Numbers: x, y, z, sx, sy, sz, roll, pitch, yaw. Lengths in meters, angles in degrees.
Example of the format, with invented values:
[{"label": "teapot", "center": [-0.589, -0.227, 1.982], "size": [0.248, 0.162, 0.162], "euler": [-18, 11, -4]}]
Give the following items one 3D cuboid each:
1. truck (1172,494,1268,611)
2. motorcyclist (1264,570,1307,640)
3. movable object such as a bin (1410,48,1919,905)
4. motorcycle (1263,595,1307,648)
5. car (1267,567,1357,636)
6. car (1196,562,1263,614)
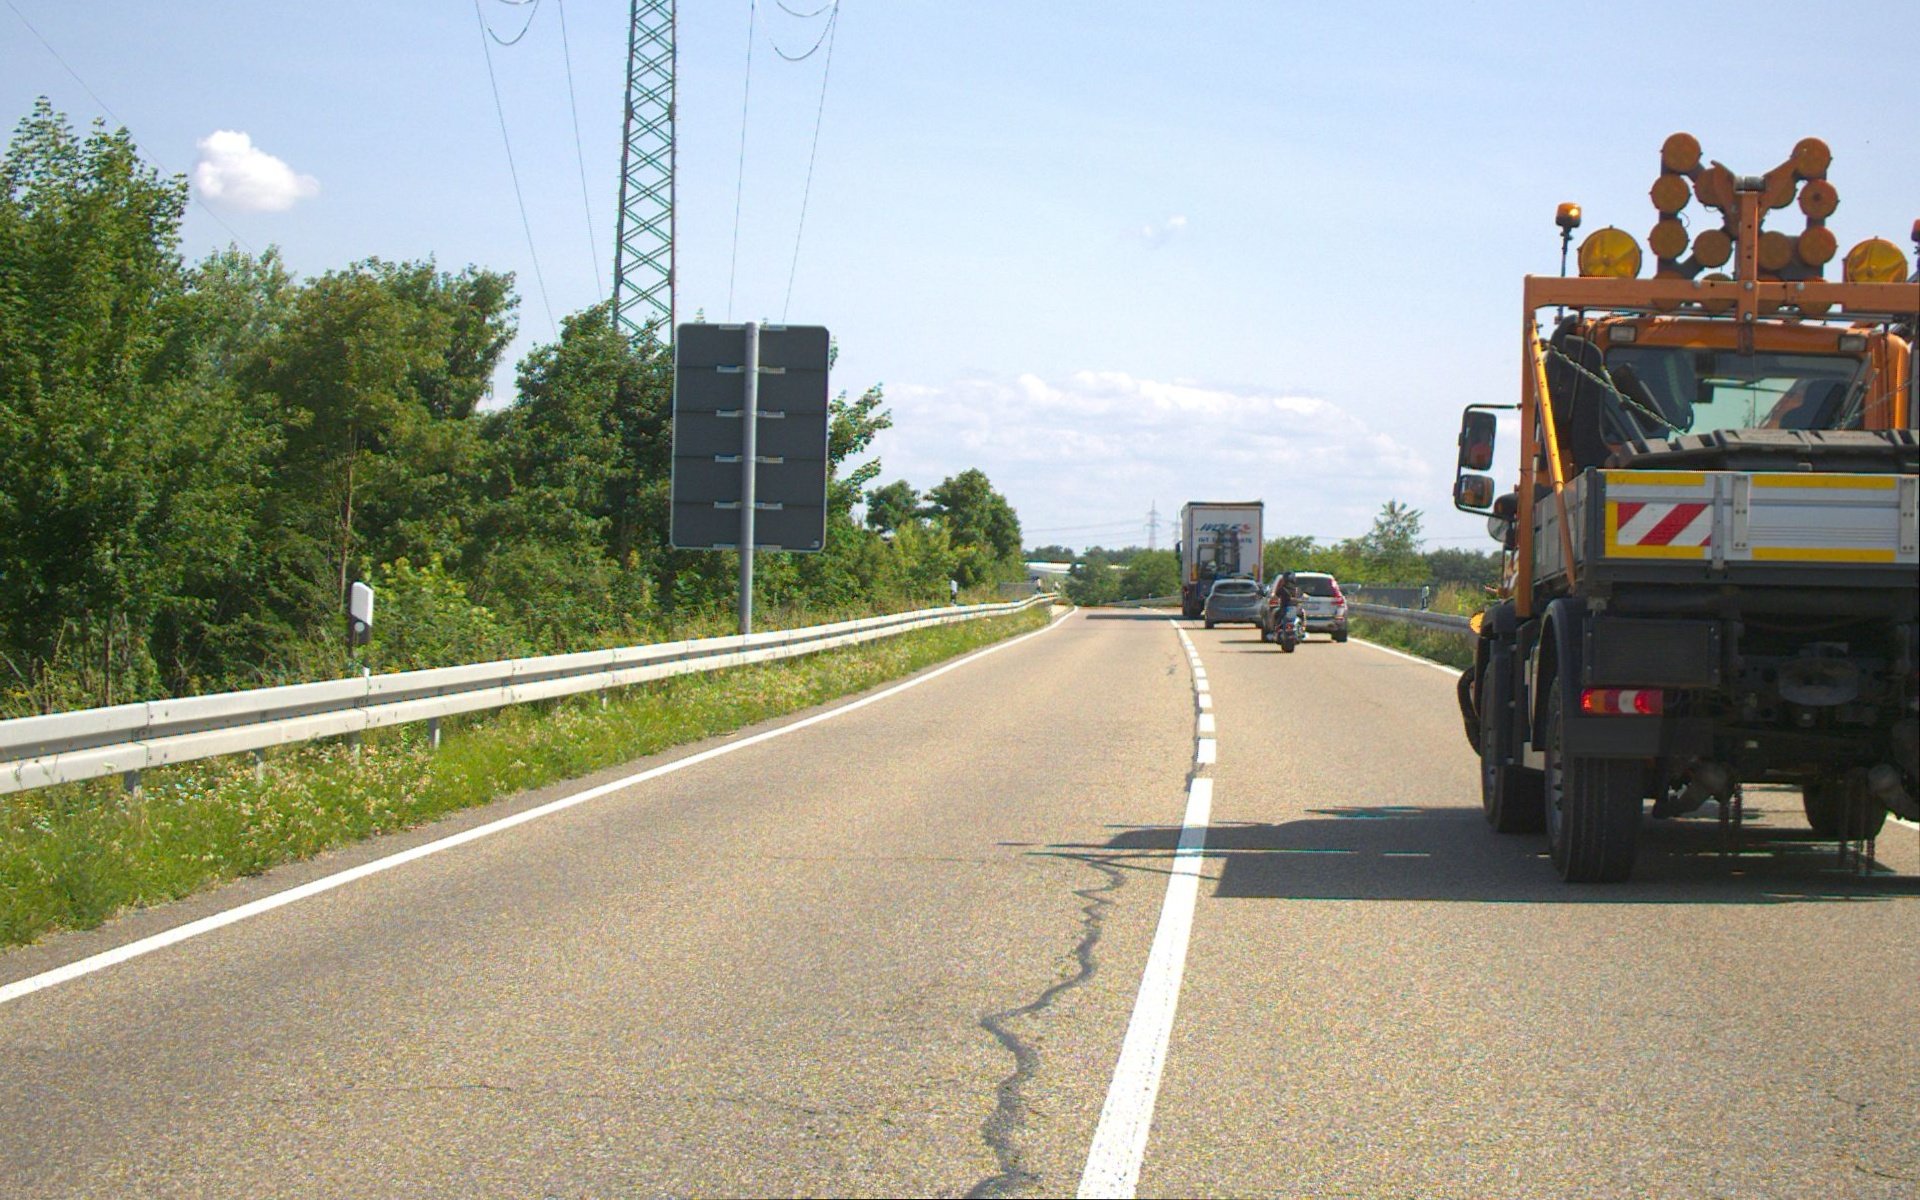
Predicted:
[{"label": "truck", "center": [9.296, -1.662, 123.051], "size": [3.242, 3.965, 9.442], "euler": [1, 0, 4]}, {"label": "motorcyclist", "center": [6.261, 0.088, 66.178], "size": [0.780, 1.321, 0.813], "euler": [1, 1, 4]}, {"label": "movable object such as a bin", "center": [4.285, -0.622, 20.123], "size": [2.754, 3.826, 9.443], "euler": [1, 1, 5]}, {"label": "motorcycle", "center": [6.245, 0.403, 66.162], "size": [0.780, 0.972, 2.361], "euler": [1, 1, 4]}, {"label": "car", "center": [7.882, 0.013, 77.225], "size": [1.826, 1.446, 4.000], "euler": [1, 1, 4]}, {"label": "car", "center": [7.801, -0.368, 99.818], "size": [1.866, 1.415, 4.000], "euler": [1, 1, 4]}]
